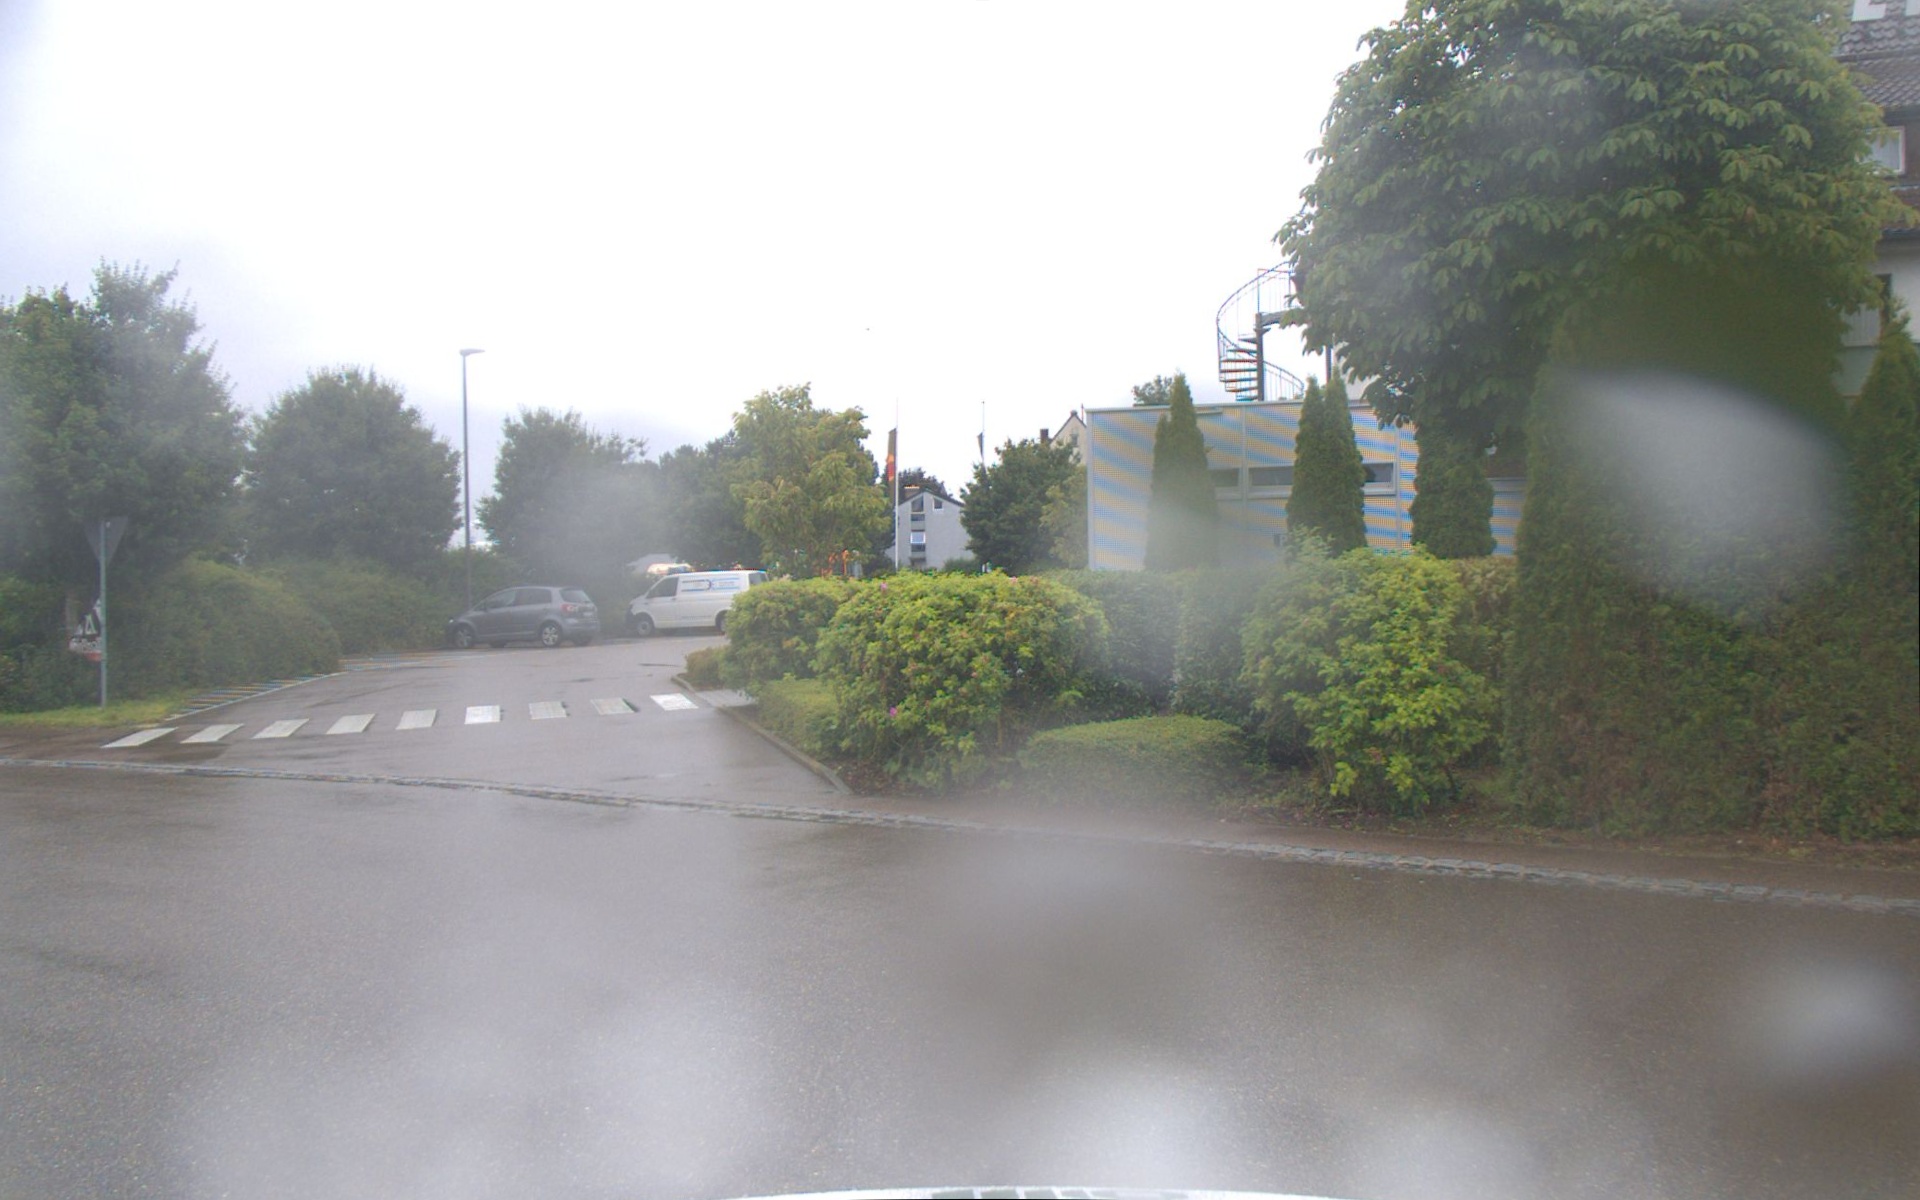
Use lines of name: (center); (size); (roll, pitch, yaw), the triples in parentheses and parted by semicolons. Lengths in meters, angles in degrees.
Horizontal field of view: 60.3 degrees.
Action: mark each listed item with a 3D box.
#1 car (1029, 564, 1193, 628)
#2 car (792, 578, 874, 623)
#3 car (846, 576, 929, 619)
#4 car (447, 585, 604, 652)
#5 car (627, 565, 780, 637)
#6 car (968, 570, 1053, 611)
car: (4.079, -0.105, 44.480); (4.087, 1.523, 1.719); (-2, 1, 16)
car: (-4.598, 0.021, 59.503); (1.534, 1.483, 3.644); (-3, 1, -29)
car: (-2.738, -0.089, 61.491); (1.564, 1.483, 3.644); (-3, 1, -29)
car: (-11.251, 0.473, 42.844); (3.653, 1.578, 1.452); (-2, 1, 16)
car: (-8.125, 0.027, 52.423); (4.425, 2.068, 1.646); (-2, 1, 16)
car: (1.907, -0.346, 63.483); (1.564, 1.483, 3.644); (-3, 1, -29)
